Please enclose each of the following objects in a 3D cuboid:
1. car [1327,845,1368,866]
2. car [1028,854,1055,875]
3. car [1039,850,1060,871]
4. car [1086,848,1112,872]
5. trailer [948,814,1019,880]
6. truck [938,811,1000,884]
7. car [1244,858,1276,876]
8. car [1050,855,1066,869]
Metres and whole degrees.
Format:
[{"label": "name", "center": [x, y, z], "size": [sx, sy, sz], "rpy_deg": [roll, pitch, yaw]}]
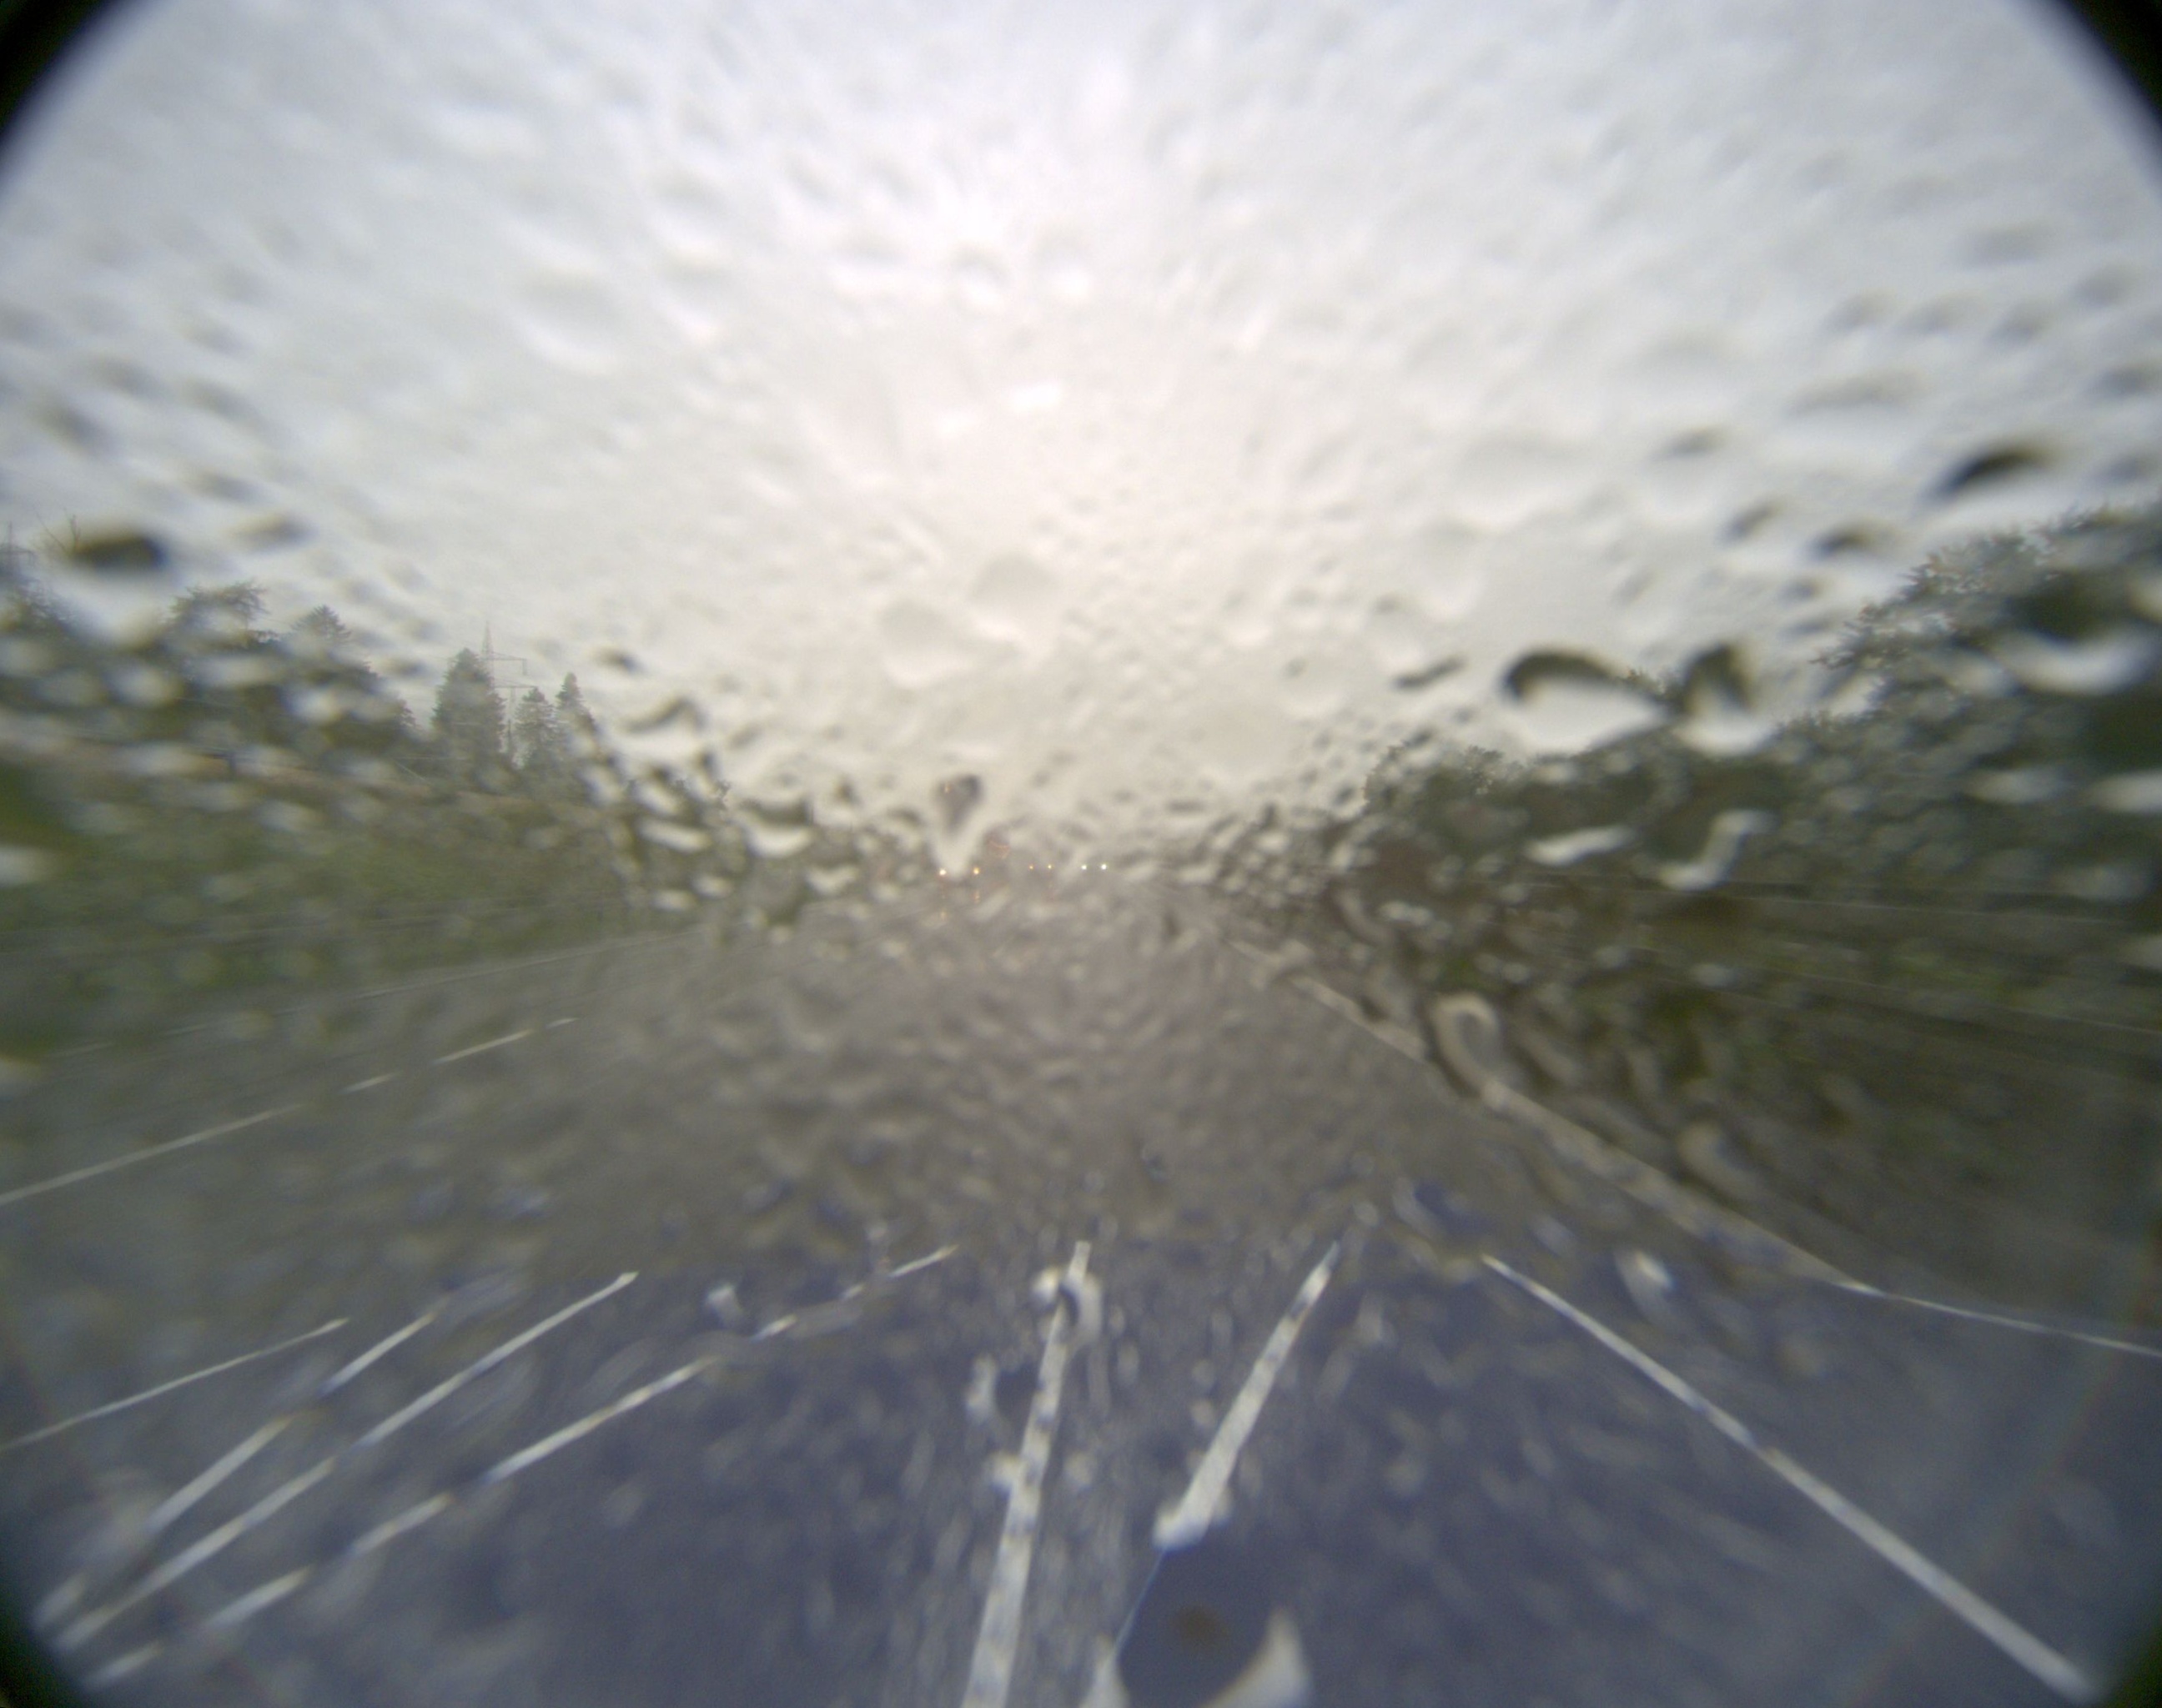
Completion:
[{"label": "car", "center": [20.819, 0.147, 59.522], "size": [1.737, 1.558, 4.000], "rpy_deg": [-2, 0, 0]}, {"label": "car", "center": [-2.867, 0.753, 56.156], "size": [1.663, 1.491, 3.837], "rpy_deg": [-2, 0, 1]}, {"label": "car", "center": [-2.547, 0.541, 61.610], "size": [1.517, 1.606, 3.186], "rpy_deg": [-2, 0, 0]}, {"label": "car", "center": [1.345, 0.459, 56.933], "size": [1.845, 1.671, 4.000], "rpy_deg": [-2, 0, 0]}, {"label": "trailer", "center": [-6.333, -0.341, 52.458], "size": [2.486, 3.743, 16.546], "rpy_deg": [-2, 0, 1]}, {"label": "truck", "center": [-6.407, -0.334, 44.280], "size": [2.457, 3.866, 6.200], "rpy_deg": [-2, 0, 1]}, {"label": "car", "center": [16.420, 1.193, 69.986], "size": [1.737, 1.558, 4.761], "rpy_deg": [-2, 0, 0]}, {"label": "car", "center": [-3.018, 1.052, 98.773], "size": [1.845, 1.671, 4.000], "rpy_deg": [-2, 0, 0]}]
